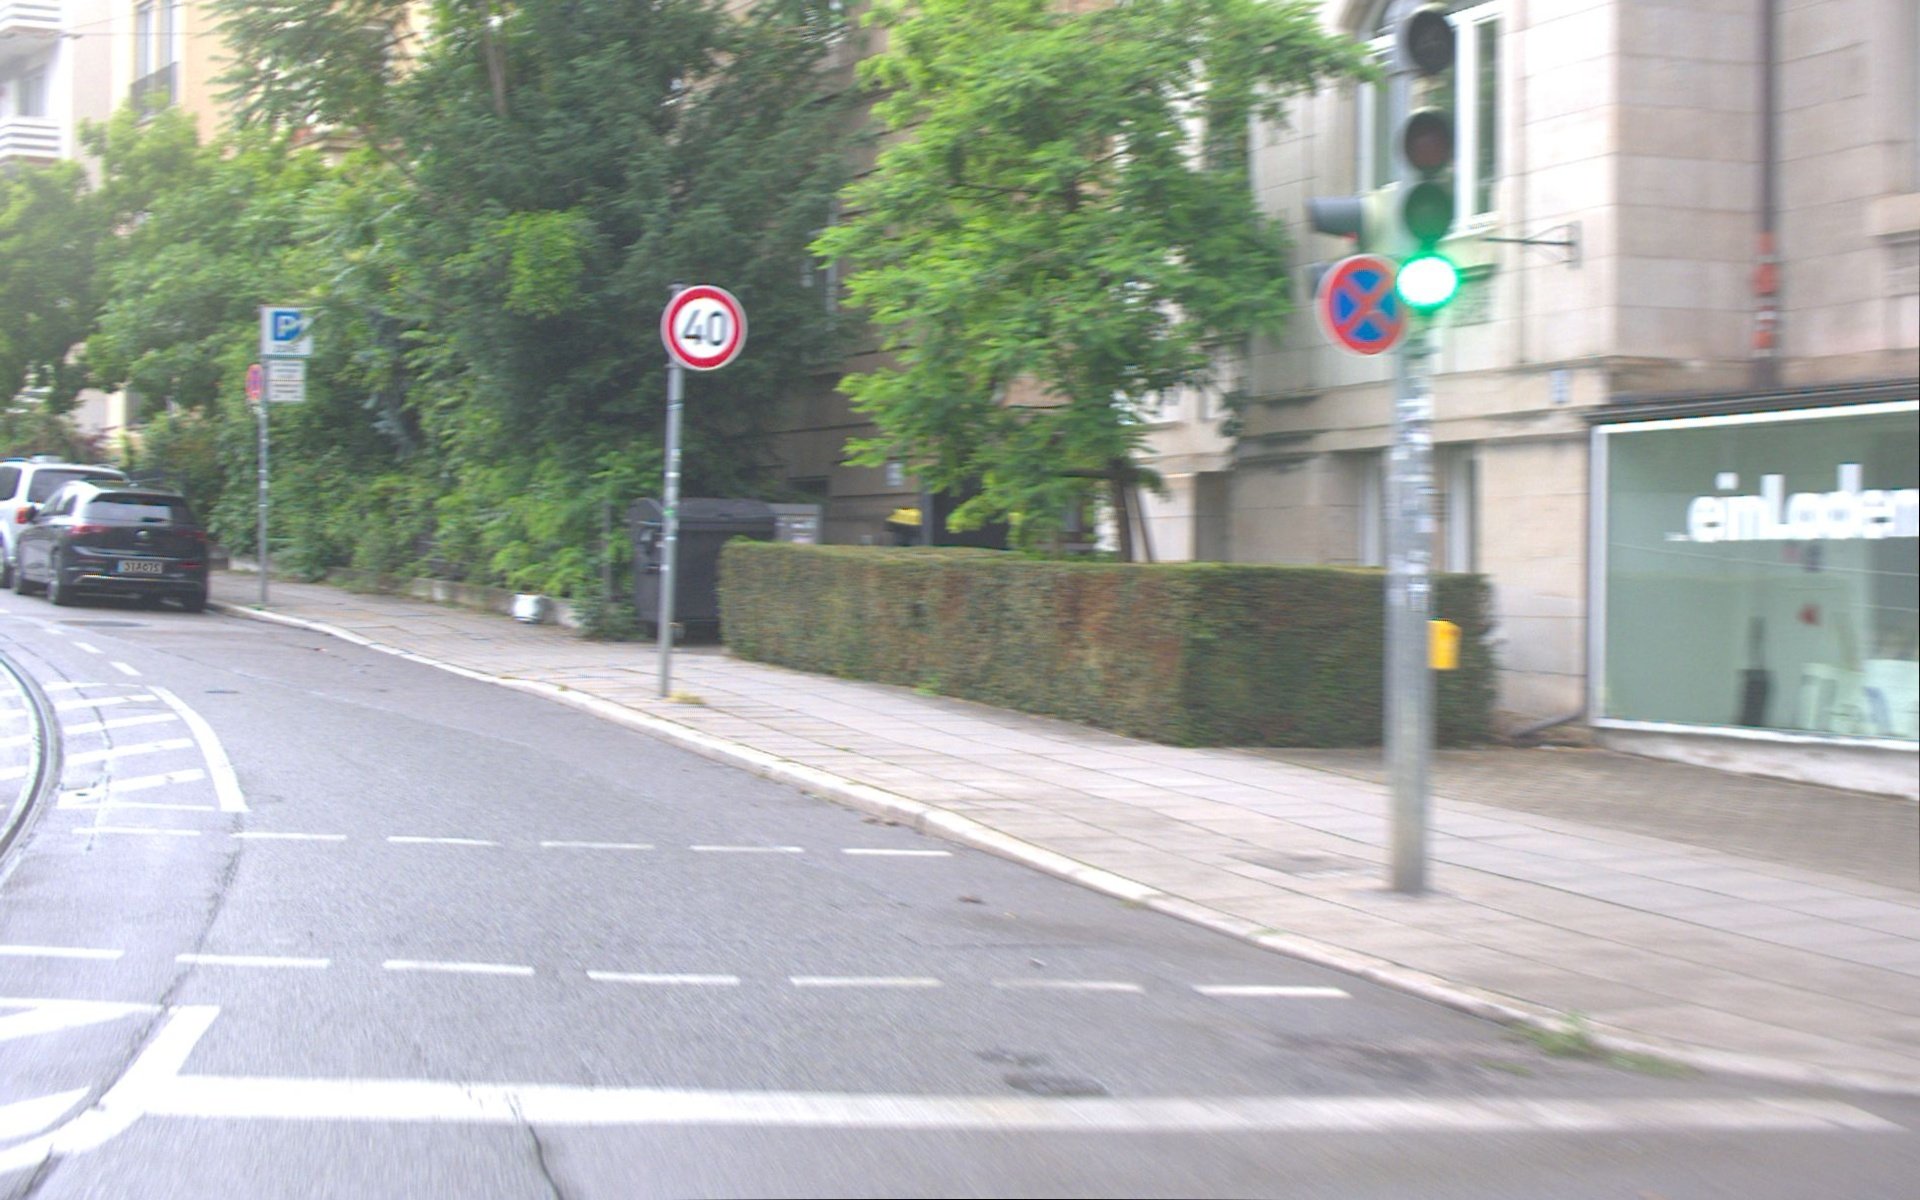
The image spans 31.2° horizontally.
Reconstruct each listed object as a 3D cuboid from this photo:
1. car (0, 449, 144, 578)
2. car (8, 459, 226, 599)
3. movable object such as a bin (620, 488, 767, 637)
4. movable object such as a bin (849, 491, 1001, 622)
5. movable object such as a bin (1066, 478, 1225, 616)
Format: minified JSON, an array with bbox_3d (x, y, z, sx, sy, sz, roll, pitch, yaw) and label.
[{"bbox_3d":[-12.201,-1.173,45.324,1.765,1.598,4.289,-1,3,-28],"label":"car"},{"bbox_3d":[-10.022,-0.873,40.692,1.765,1.386,4.002,2,4,-24],"label":"car"},{"bbox_3d":[-2.655,-0.386,34.206,1.225,1.398,0.823,-2,5,-31],"label":"movable object such as a bin"},{"bbox_3d":[-0.369,-0.463,35.699,1.217,1.304,1.168,-1,3,-23],"label":"movable object such as a bin"},{"bbox_3d":[1.975,-0.583,36.704,1.230,1.420,1.308,-2,3,-23],"label":"movable object such as a bin"}]
